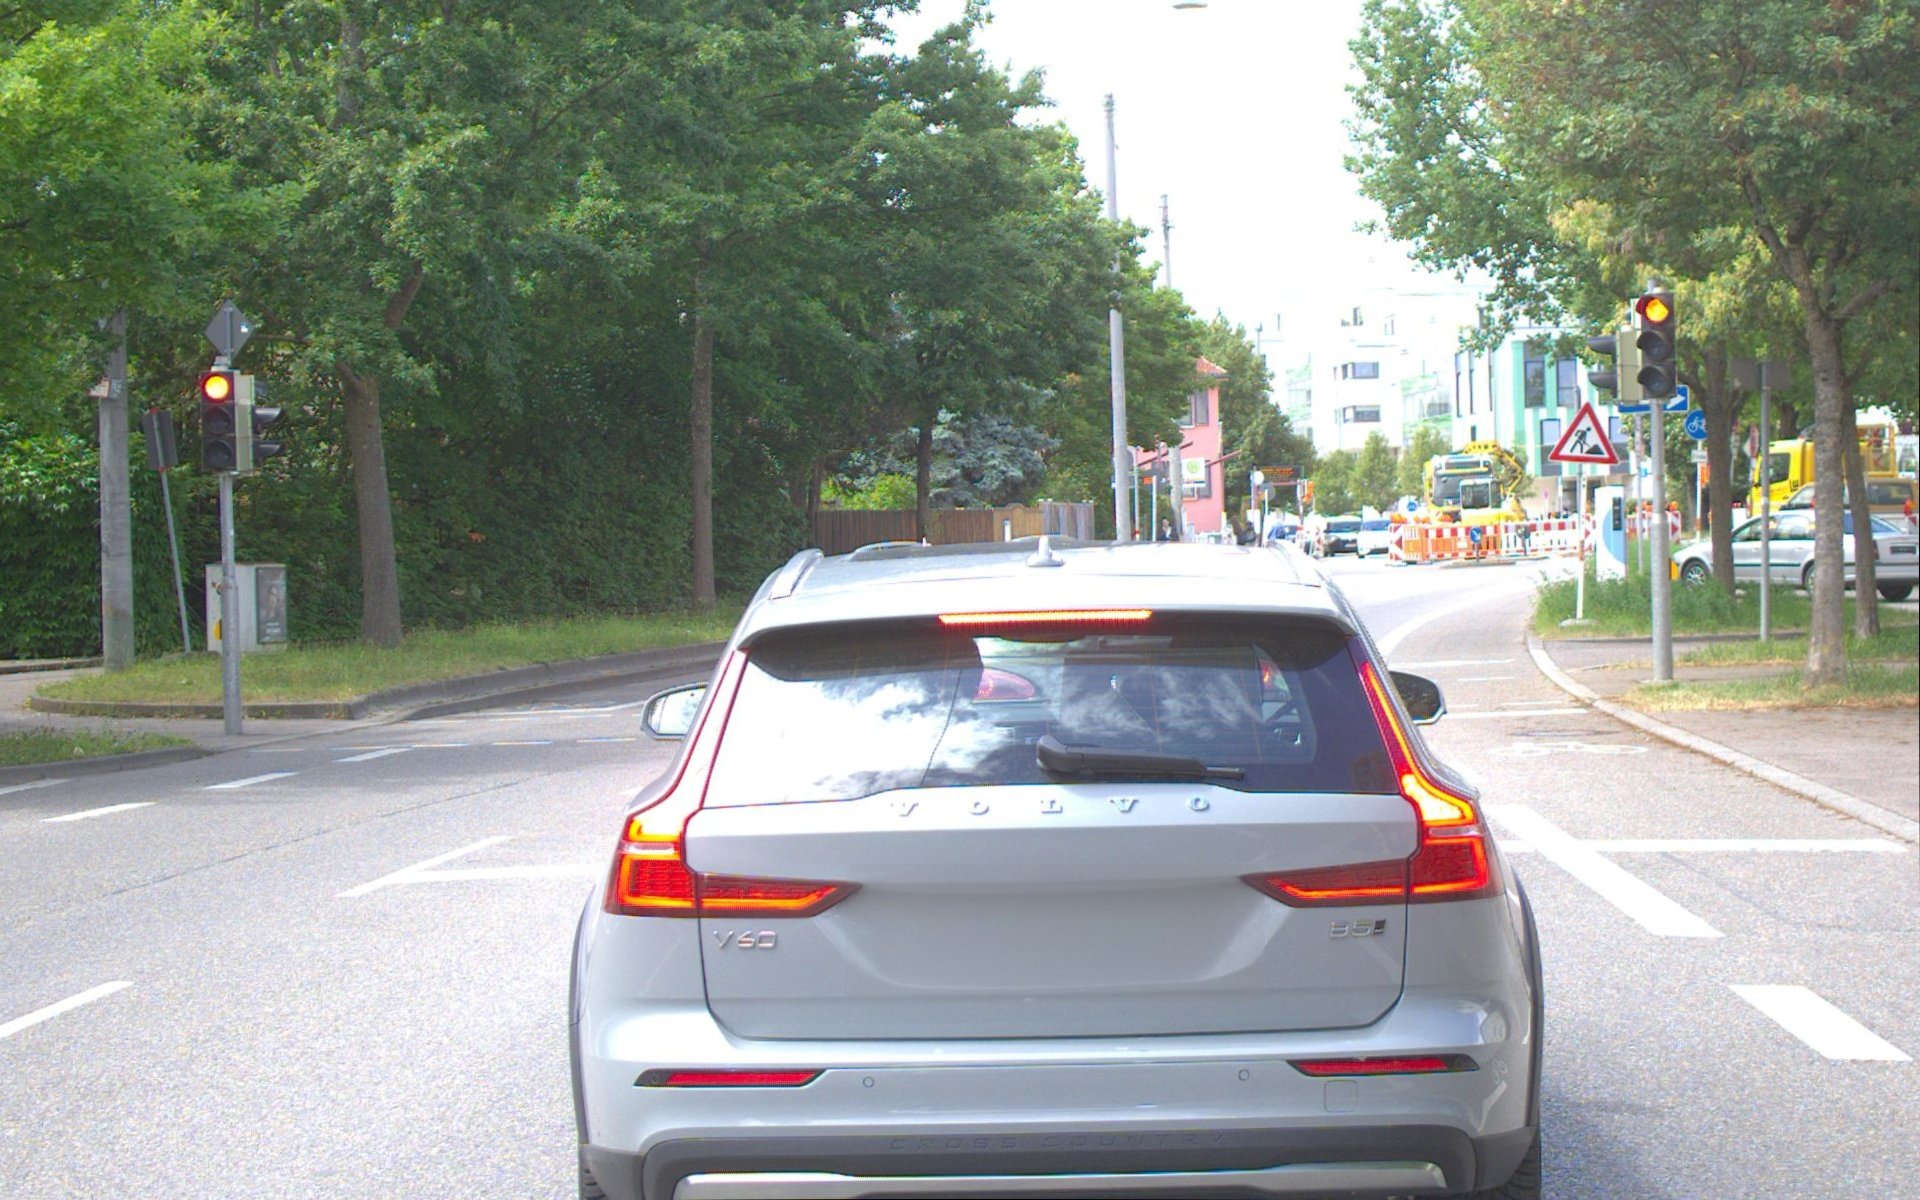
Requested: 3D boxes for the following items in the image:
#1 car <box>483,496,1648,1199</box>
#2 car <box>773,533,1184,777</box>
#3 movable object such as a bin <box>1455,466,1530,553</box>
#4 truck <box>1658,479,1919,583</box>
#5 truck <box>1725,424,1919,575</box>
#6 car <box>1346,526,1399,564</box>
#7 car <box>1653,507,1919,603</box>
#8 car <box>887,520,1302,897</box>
[{"bbox_3d":[0.146,0.589,7.724,1.928,1.535,4.000,-1,0,-1],"label":"car"},{"bbox_3d":[0.231,0.338,23.360,2.103,1.505,3.998,-1,0,11],"label":"car"},{"bbox_3d":[16.999,-2.900,109.507,2.035,2.634,5.937,-2,1,11],"label":"movable object such as a bin"},{"bbox_3d":[16.888,-1.383,69.397,1.994,2.007,5.677,1,1,-34],"label":"truck"},{"bbox_3d":[19.298,-2.034,71.020,2.761,2.998,6.706,1,0,-34],"label":"truck"},{"bbox_3d":[15.783,-2.083,131.509,1.829,1.325,3.998,1,-1,9],"label":"car"},{"bbox_3d":[13.324,-0.735,54.673,1.762,1.446,4.689,-2,2,-32],"label":"car"},{"bbox_3d":[0.629,0.428,15.907,1.661,1.503,3.702,1,0,3],"label":"car"}]
